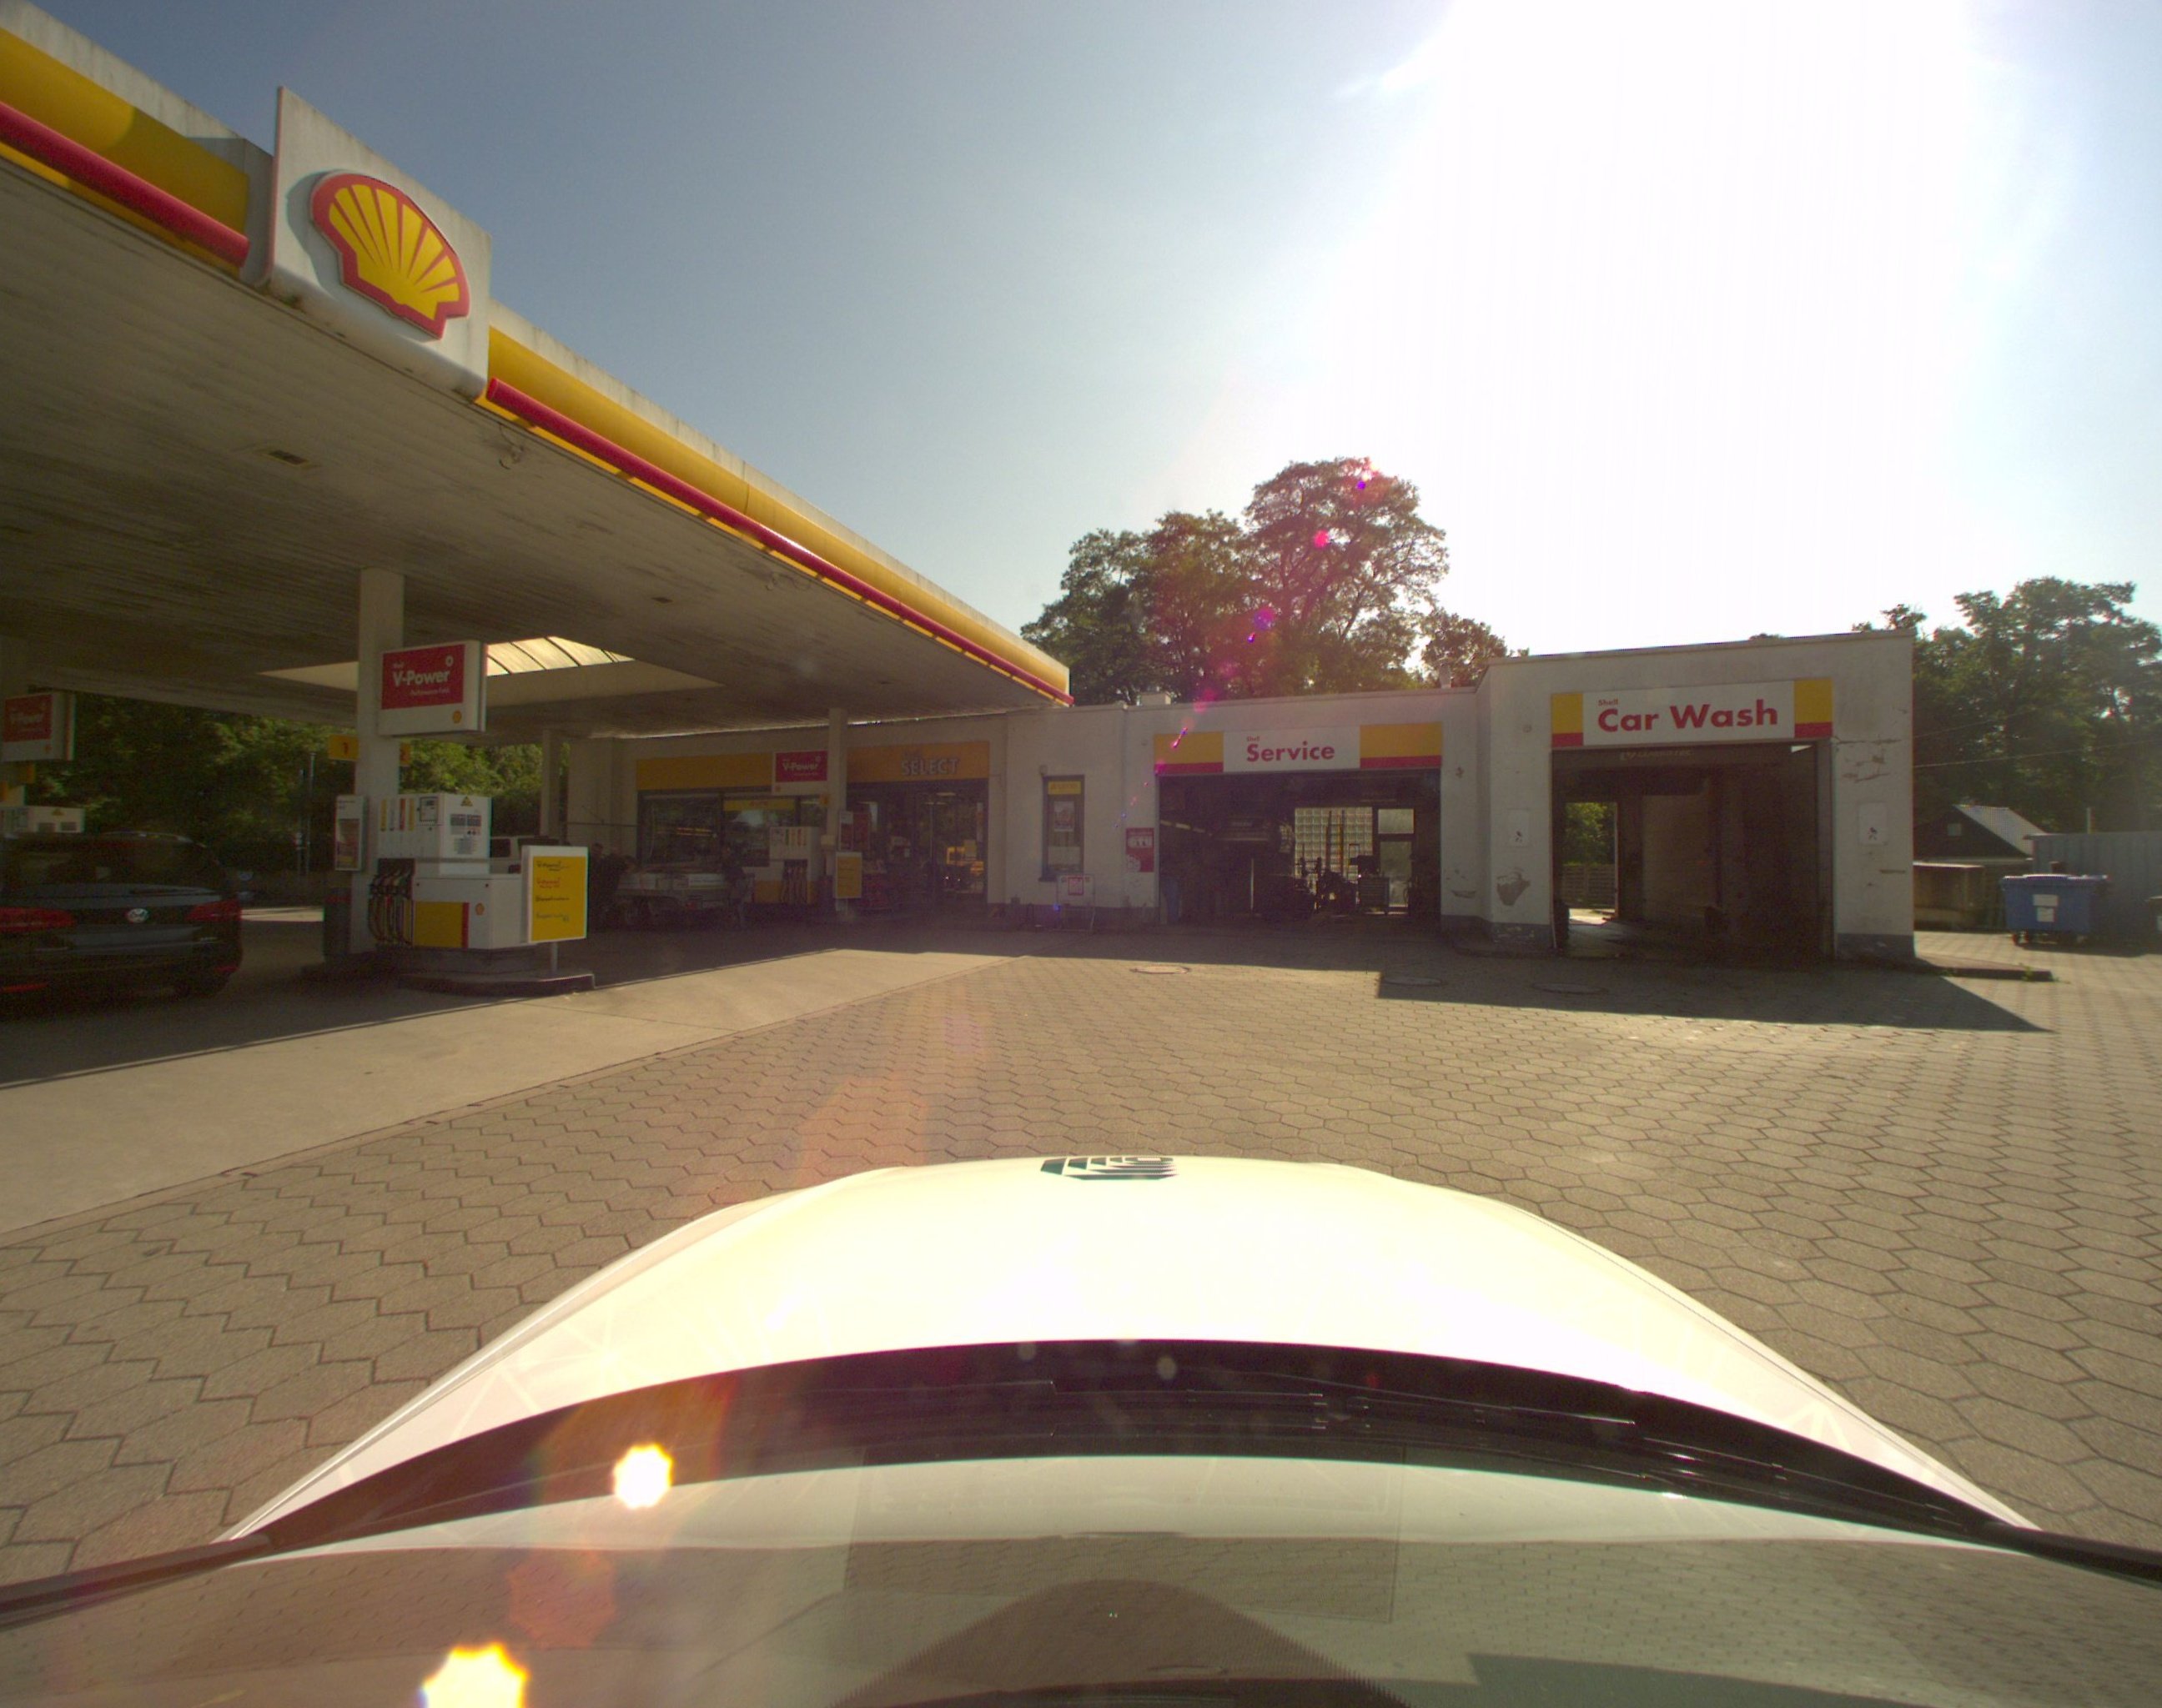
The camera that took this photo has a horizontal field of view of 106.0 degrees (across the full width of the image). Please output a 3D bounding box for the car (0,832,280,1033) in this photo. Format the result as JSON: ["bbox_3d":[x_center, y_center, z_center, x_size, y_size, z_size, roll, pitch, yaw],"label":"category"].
[{"bbox_3d":[-10.056,0.638,7.812,3.834,1.578,1.773,0,-1,18],"label":"car"}]

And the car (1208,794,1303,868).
[{"bbox_3d":[4.422,-0.472,20.211,1.632,1.486,4.020,-1,-3,22],"label":"car"}]

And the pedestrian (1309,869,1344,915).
[{"bbox_3d":[6.628,1.028,22.002,0.856,1.198,0.746,-1,-3,19],"label":"pedestrian"}]

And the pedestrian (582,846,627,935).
[{"bbox_3d":[-8.756,0.666,14.977,0.470,1.593,0.503,0,-2,24],"label":"pedestrian"}]

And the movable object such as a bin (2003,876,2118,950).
[{"bbox_3d":[18.628,1.086,15.512,0.851,1.325,1.224,1,-2,-27],"label":"movable object such as a bin"}]

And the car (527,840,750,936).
[{"bbox_3d":[-8.833,0.656,16.284,3.951,1.728,1.843,-1,-2,24],"label":"car"}]

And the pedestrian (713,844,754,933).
[{"bbox_3d":[-6.674,0.658,15.636,0.495,1.668,0.478,0,-2,21],"label":"pedestrian"}]

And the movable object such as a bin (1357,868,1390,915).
[{"bbox_3d":[7.864,1.006,21.892,0.790,1.236,0.547,-1,-4,22],"label":"movable object such as a bin"}]

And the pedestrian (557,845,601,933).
[{"bbox_3d":[-9.531,0.653,15.471,0.470,1.632,0.503,0,-2,24],"label":"pedestrian"}]

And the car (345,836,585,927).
[{"bbox_3d":[-13.720,0.577,18.181,4.726,1.838,1.866,0,-1,18],"label":"car"}]

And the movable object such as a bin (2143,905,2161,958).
[{"bbox_3d":[19.260,1.368,14.296,0.866,0.910,0.490,1,-2,-19],"label":"movable object such as a bin"}]
